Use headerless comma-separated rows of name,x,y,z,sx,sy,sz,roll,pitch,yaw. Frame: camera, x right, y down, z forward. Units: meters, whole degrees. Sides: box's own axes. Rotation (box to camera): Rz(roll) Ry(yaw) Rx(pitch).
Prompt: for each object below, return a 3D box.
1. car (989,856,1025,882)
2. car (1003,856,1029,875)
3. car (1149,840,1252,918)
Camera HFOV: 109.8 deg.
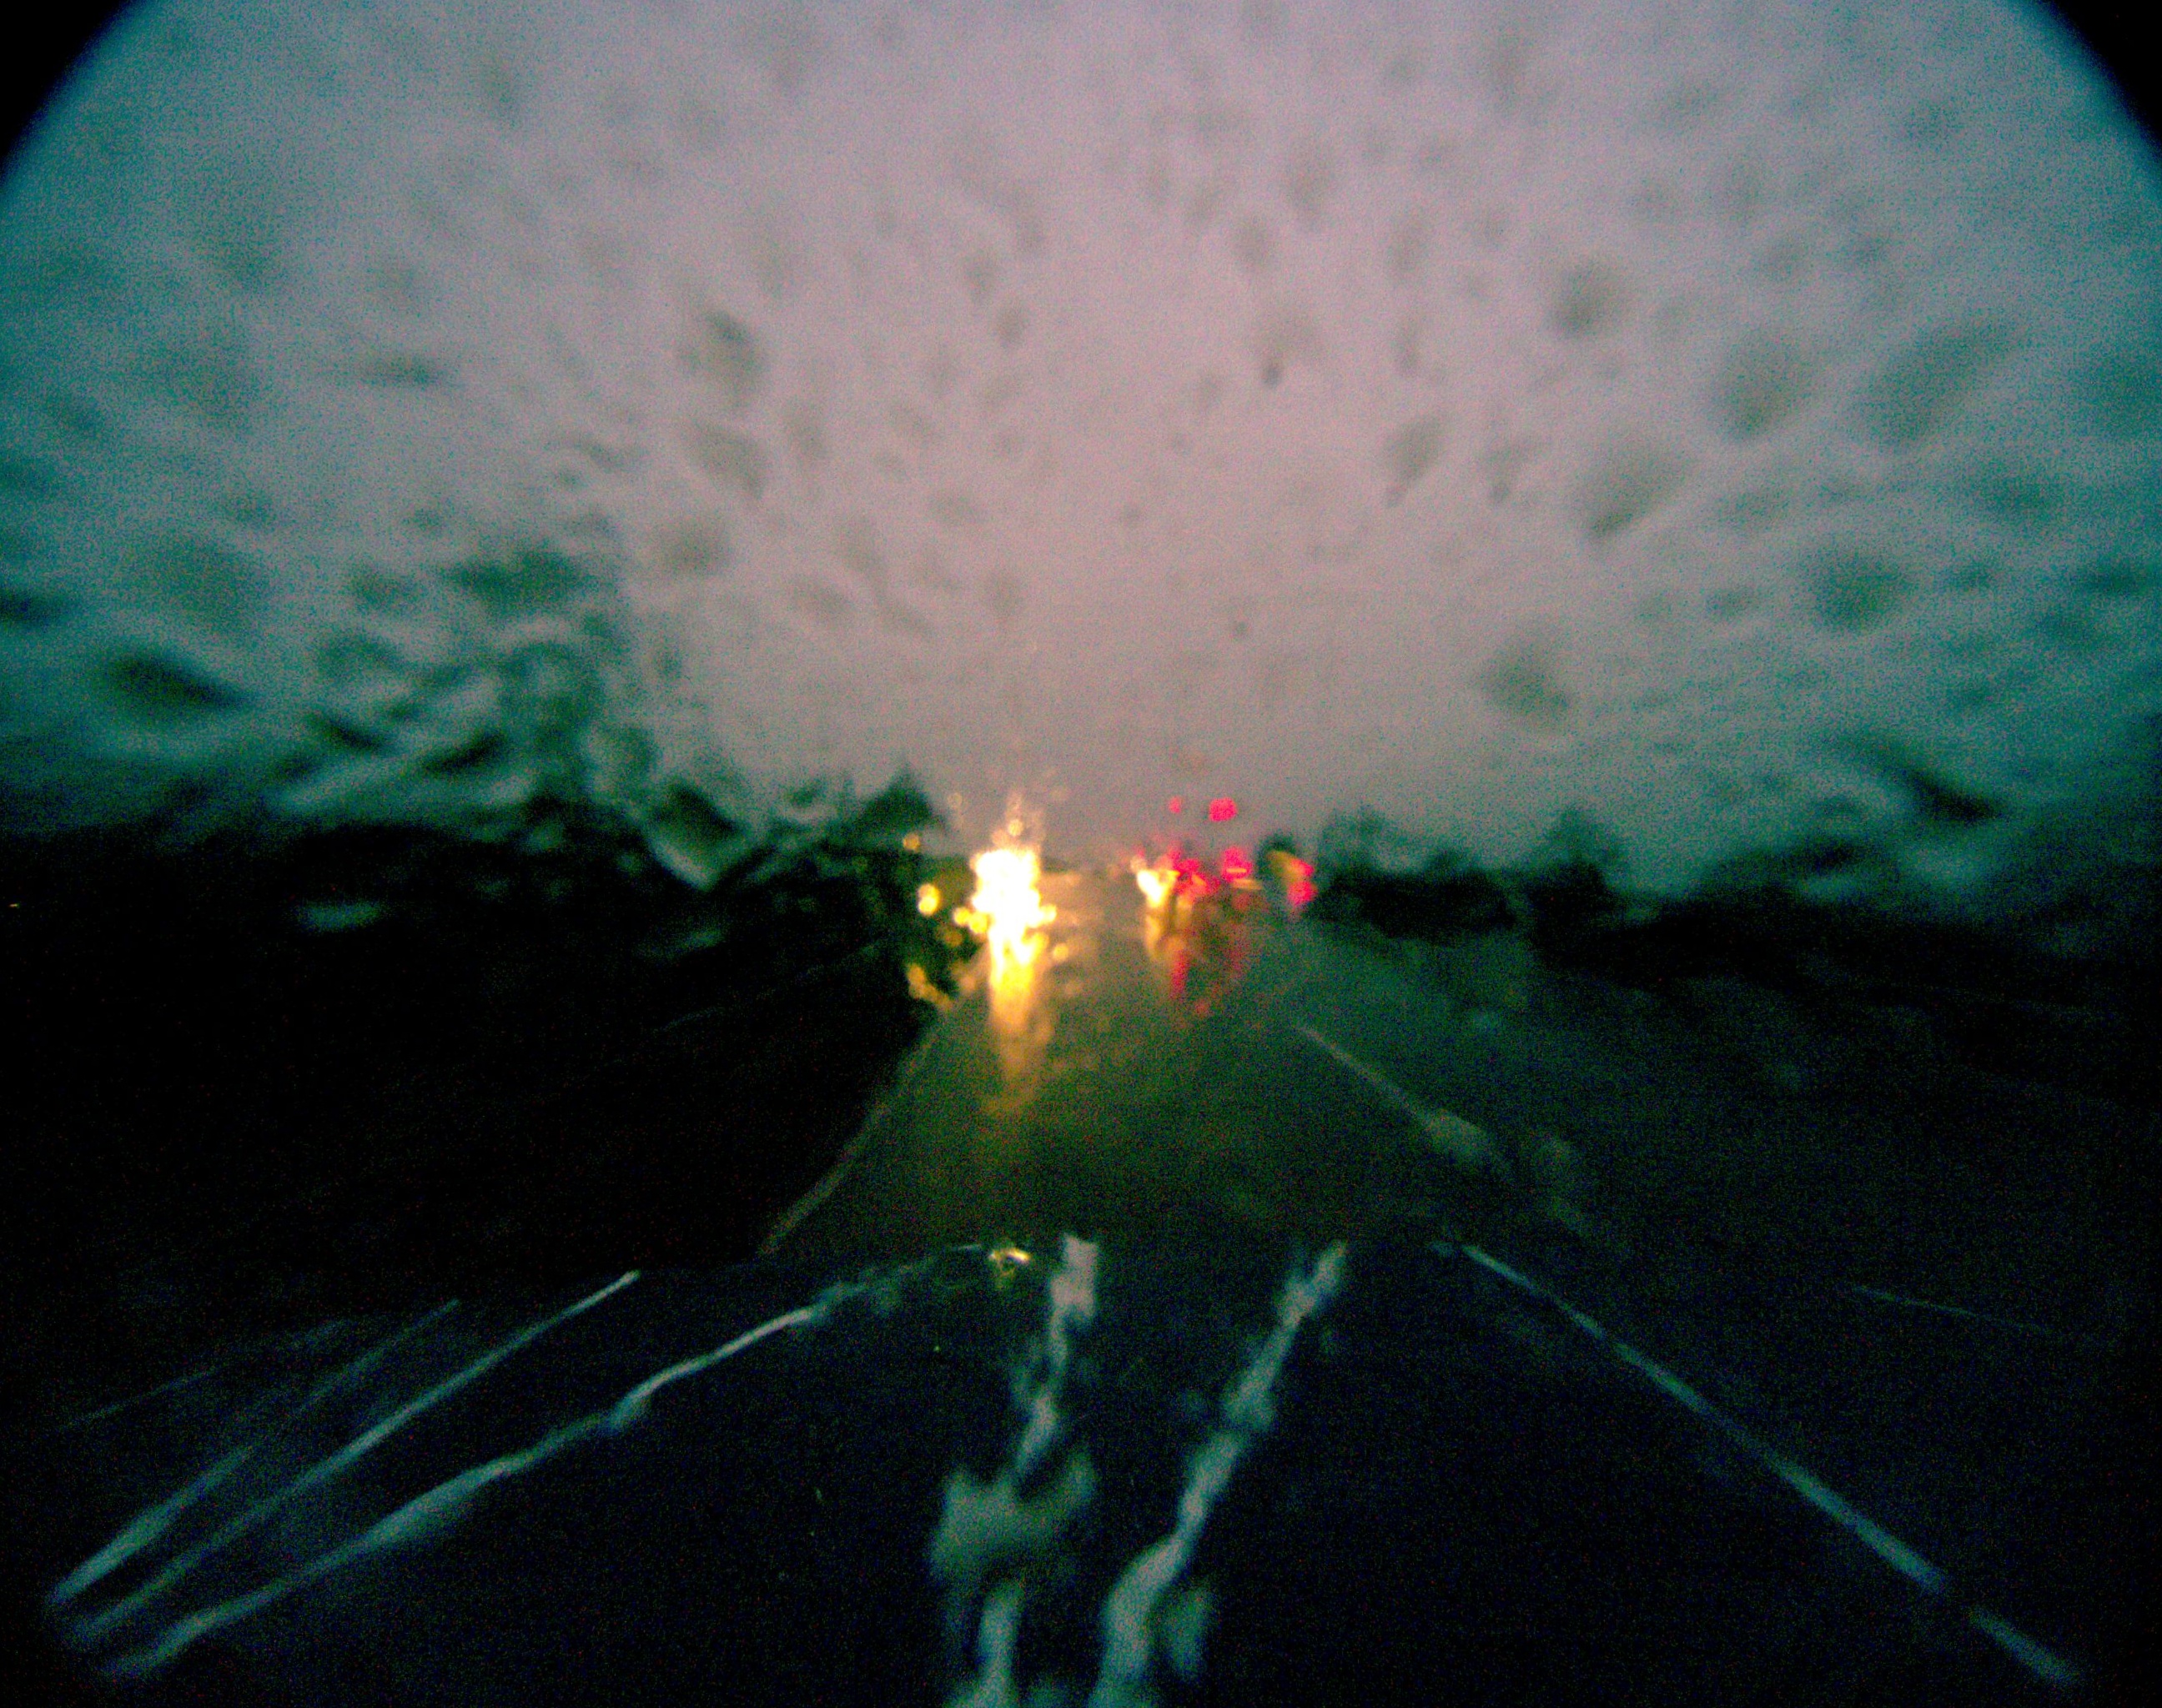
car,-5.129,1.070,52.271,2.104,1.565,4.797,1,-3,-10
car,-5.978,1.041,69.518,2.017,1.625,4.870,-1,0,-8
car,3.106,0.619,20.799,1.888,1.852,5.006,-1,0,-2
